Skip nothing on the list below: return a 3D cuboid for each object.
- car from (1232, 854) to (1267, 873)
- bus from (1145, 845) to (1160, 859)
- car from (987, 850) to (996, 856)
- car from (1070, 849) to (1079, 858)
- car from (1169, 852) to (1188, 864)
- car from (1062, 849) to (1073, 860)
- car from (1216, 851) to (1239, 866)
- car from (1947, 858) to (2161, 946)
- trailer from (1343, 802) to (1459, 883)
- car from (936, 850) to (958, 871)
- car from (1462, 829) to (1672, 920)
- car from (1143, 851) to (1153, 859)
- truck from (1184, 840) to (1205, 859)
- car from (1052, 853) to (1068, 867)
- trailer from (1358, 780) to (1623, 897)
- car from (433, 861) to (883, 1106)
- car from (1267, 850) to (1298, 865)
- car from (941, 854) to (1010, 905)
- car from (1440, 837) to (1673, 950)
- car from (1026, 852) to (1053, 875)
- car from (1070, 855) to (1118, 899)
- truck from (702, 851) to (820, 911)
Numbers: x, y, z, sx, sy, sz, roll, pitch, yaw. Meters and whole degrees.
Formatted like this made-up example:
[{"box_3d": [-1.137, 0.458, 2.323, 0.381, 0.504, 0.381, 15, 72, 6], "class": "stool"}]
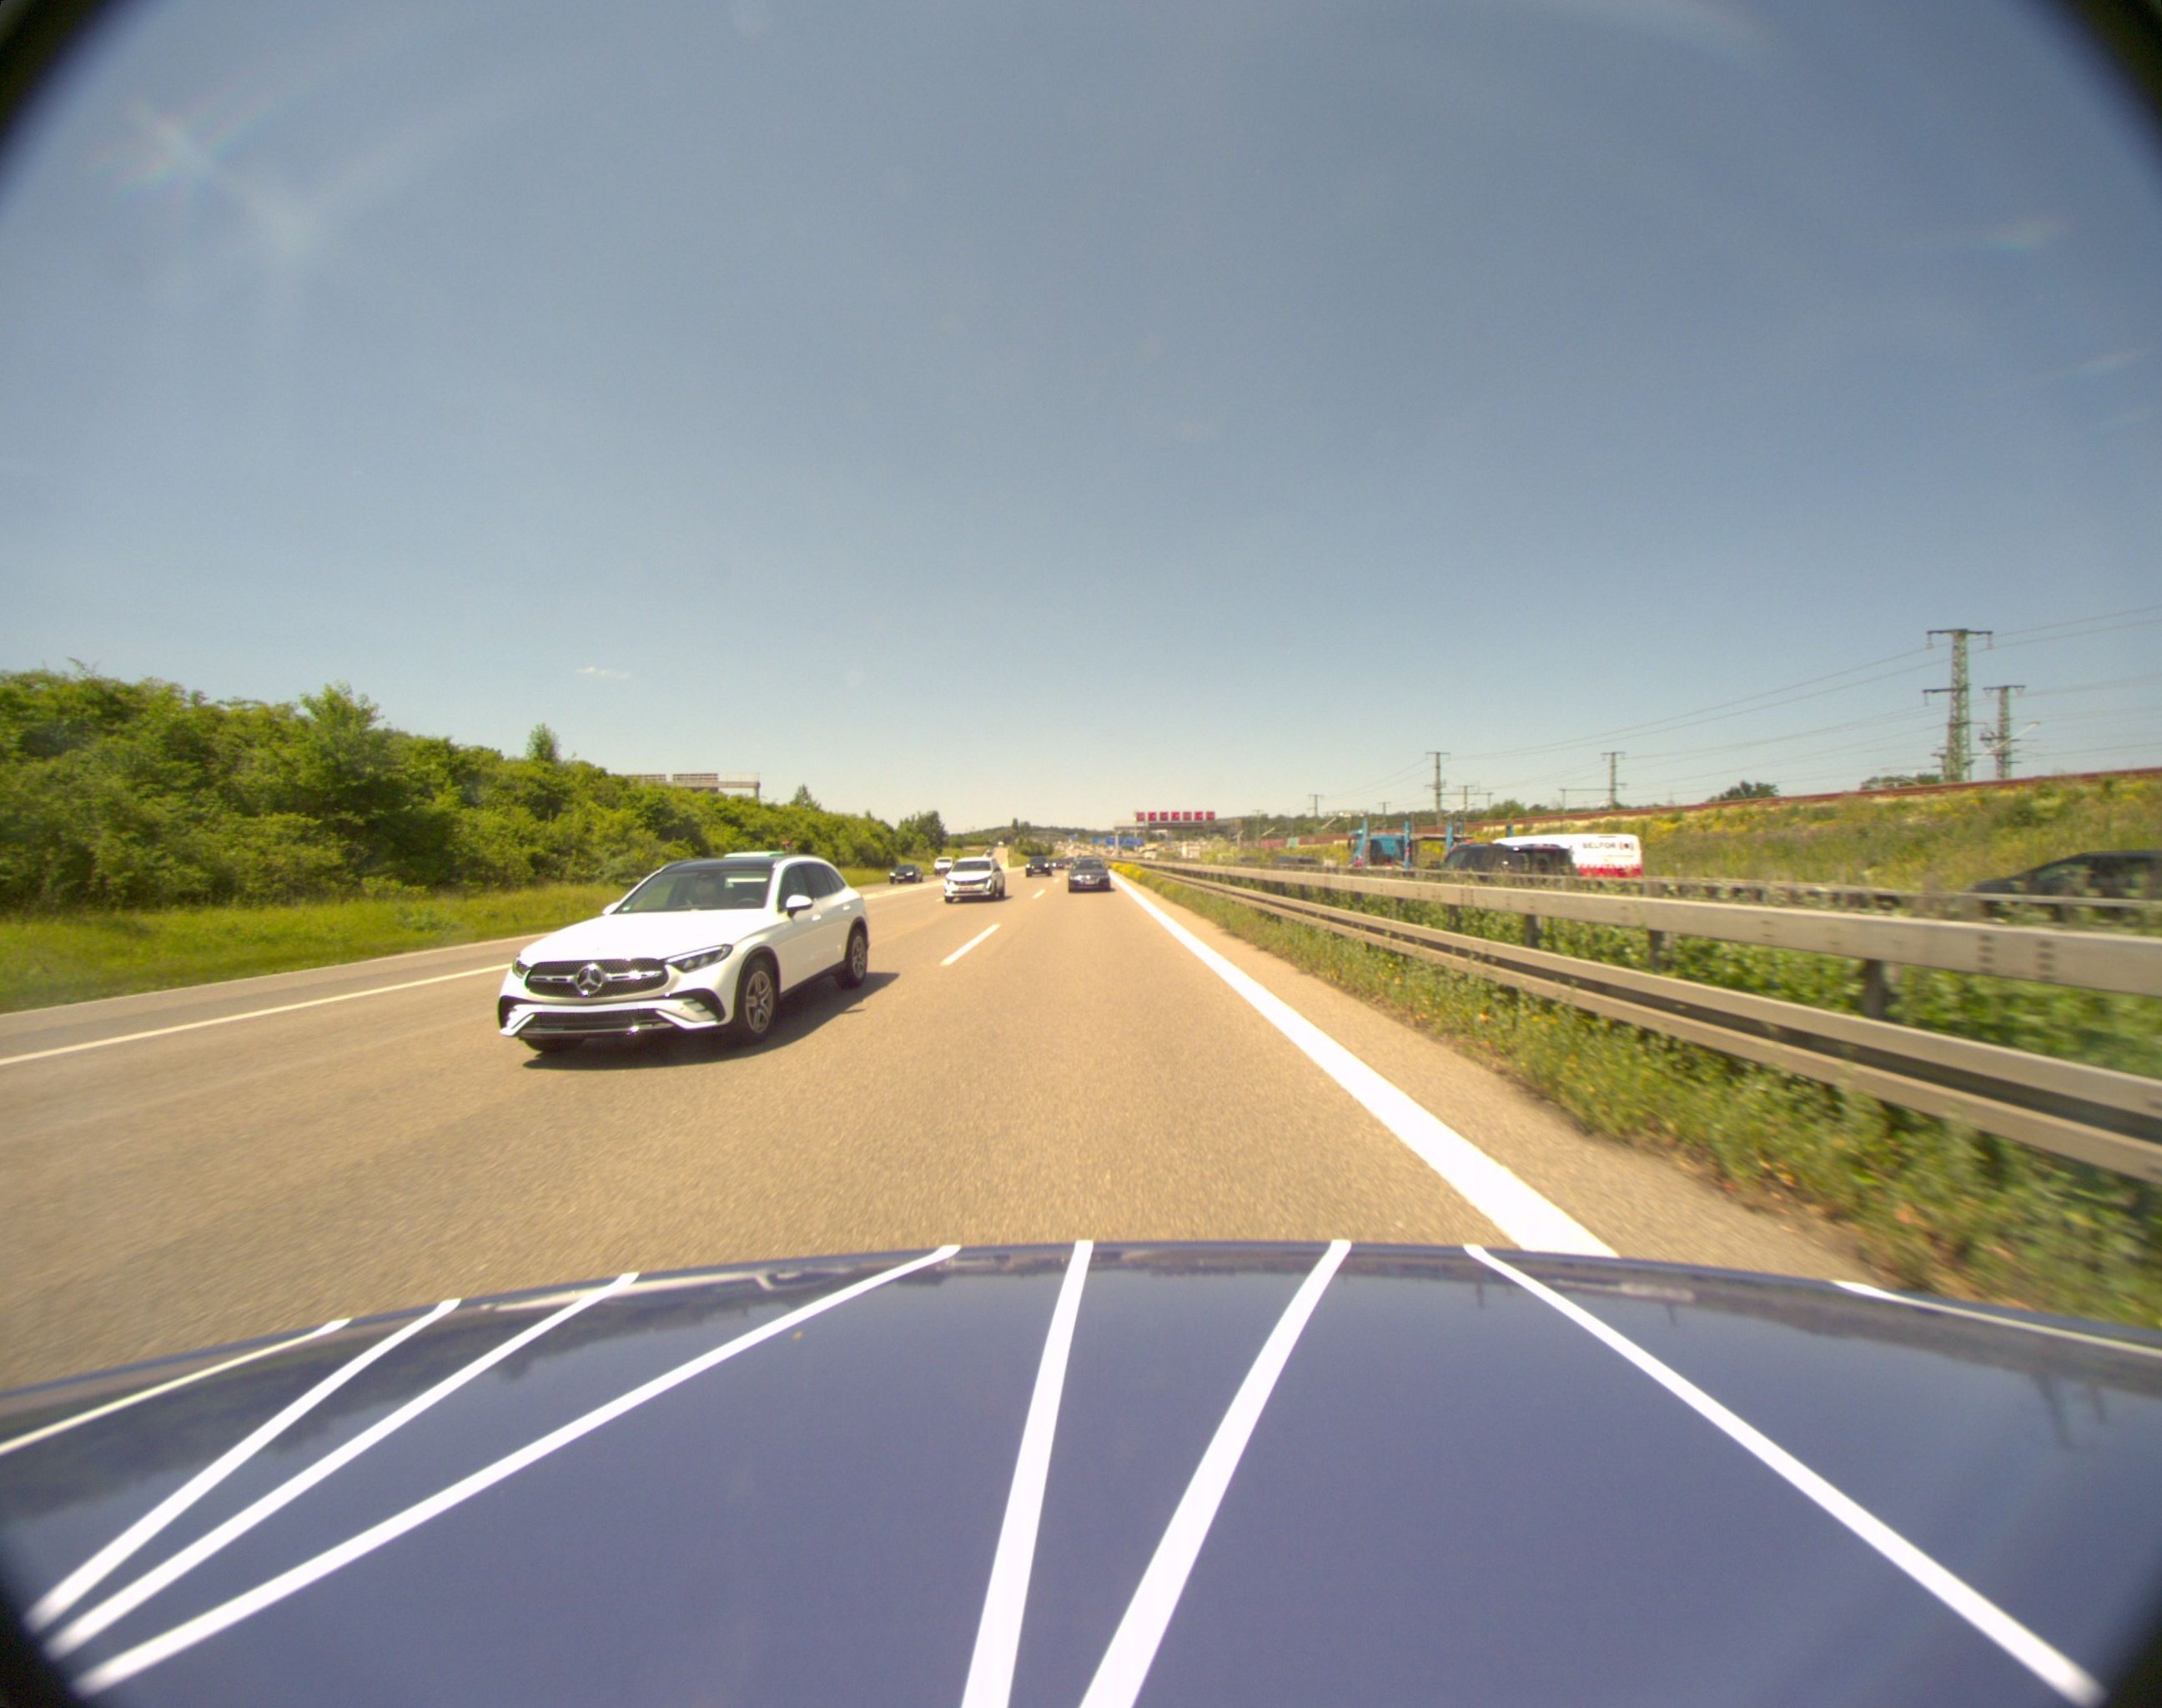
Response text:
[{"box_3d": [13.190, 0.708, 59.793, 1.891, 1.336, 4.132, 0, 2, 1], "class": "car"}, {"box_3d": [18.723, -0.526, 200.212, 2.864, 3.624, 10.941, -3, 0, 1], "class": "bus"}, {"box_3d": [-25.909, -0.321, 220.678, 1.983, 1.620, 4.615, -3, 1, -1], "class": "car"}, {"box_3d": [-1.442, -0.107, 175.256, 1.999, 2.002, 3.999, -2, 1, 0], "class": "car"}, {"box_3d": [13.937, 0.517, 108.802, 1.925, 1.601, 5.396, 0, 0, 0], "class": "car"}, {"box_3d": [-2.490, 0.105, 141.284, 1.999, 2.002, 3.999, -2, 1, 0], "class": "car"}, {"box_3d": [17.562, 0.515, 91.316, 1.925, 1.790, 5.196, 0, 0, 1], "class": "car"}, {"box_3d": [20.199, 0.861, 14.766, 1.922, 1.506, 4.238, -1, 0, 0], "class": "car"}, {"box_3d": [16.595, -0.550, 40.026, 3.058, 3.845, 7.203, -1, 0, 0], "class": "trailer"}, {"box_3d": [-14.467, 0.727, 82.273, 2.000, 2.159, 4.890, -2, 0, -7], "class": "car"}, {"box_3d": [12.339, 0.462, 19.857, 1.998, 2.002, 5.432, -2, 0, 0], "class": "car"}, {"box_3d": [14.619, 0.208, 166.719, 1.925, 1.601, 4.000, 0, 0, 1], "class": "car"}, {"box_3d": [21.700, -0.826, 145.765, 2.864, 3.446, 7.780, -3, 0, 1], "class": "truck"}, {"box_3d": [-2.480, 0.657, 88.879, 1.752, 1.462, 3.998, -2, 2, -2], "class": "car"}, {"box_3d": [16.562, -0.537, 33.301, 3.058, 3.845, 15.976, -1, 0, 0], "class": "trailer"}, {"box_3d": [-3.642, 0.952, 7.784, 1.909, 1.646, 4.636, -2, 0, 1], "class": "car"}, {"box_3d": [20.401, 0.353, 77.024, 1.925, 1.409, 4.584, 0, 0, 1], "class": "car"}, {"box_3d": [-3.903, 0.881, 28.930, 1.898, 1.620, 4.616, -2, 1, 0], "class": "car"}, {"box_3d": [8.777, 0.649, 14.520, 1.998, 1.838, 4.000, -1, 0, 1], "class": "car"}, {"box_3d": [-3.340, 0.736, 61.878, 1.983, 1.620, 4.615, -3, 1, -1], "class": "car"}, {"box_3d": [0.461, 0.852, 30.268, 1.752, 1.462, 3.998, -2, 2, 0], "class": "car"}, {"box_3d": [-12.390, 0.955, 29.996, 2.170, 2.080, 6.117, -1, 0, -2], "class": "truck"}]
